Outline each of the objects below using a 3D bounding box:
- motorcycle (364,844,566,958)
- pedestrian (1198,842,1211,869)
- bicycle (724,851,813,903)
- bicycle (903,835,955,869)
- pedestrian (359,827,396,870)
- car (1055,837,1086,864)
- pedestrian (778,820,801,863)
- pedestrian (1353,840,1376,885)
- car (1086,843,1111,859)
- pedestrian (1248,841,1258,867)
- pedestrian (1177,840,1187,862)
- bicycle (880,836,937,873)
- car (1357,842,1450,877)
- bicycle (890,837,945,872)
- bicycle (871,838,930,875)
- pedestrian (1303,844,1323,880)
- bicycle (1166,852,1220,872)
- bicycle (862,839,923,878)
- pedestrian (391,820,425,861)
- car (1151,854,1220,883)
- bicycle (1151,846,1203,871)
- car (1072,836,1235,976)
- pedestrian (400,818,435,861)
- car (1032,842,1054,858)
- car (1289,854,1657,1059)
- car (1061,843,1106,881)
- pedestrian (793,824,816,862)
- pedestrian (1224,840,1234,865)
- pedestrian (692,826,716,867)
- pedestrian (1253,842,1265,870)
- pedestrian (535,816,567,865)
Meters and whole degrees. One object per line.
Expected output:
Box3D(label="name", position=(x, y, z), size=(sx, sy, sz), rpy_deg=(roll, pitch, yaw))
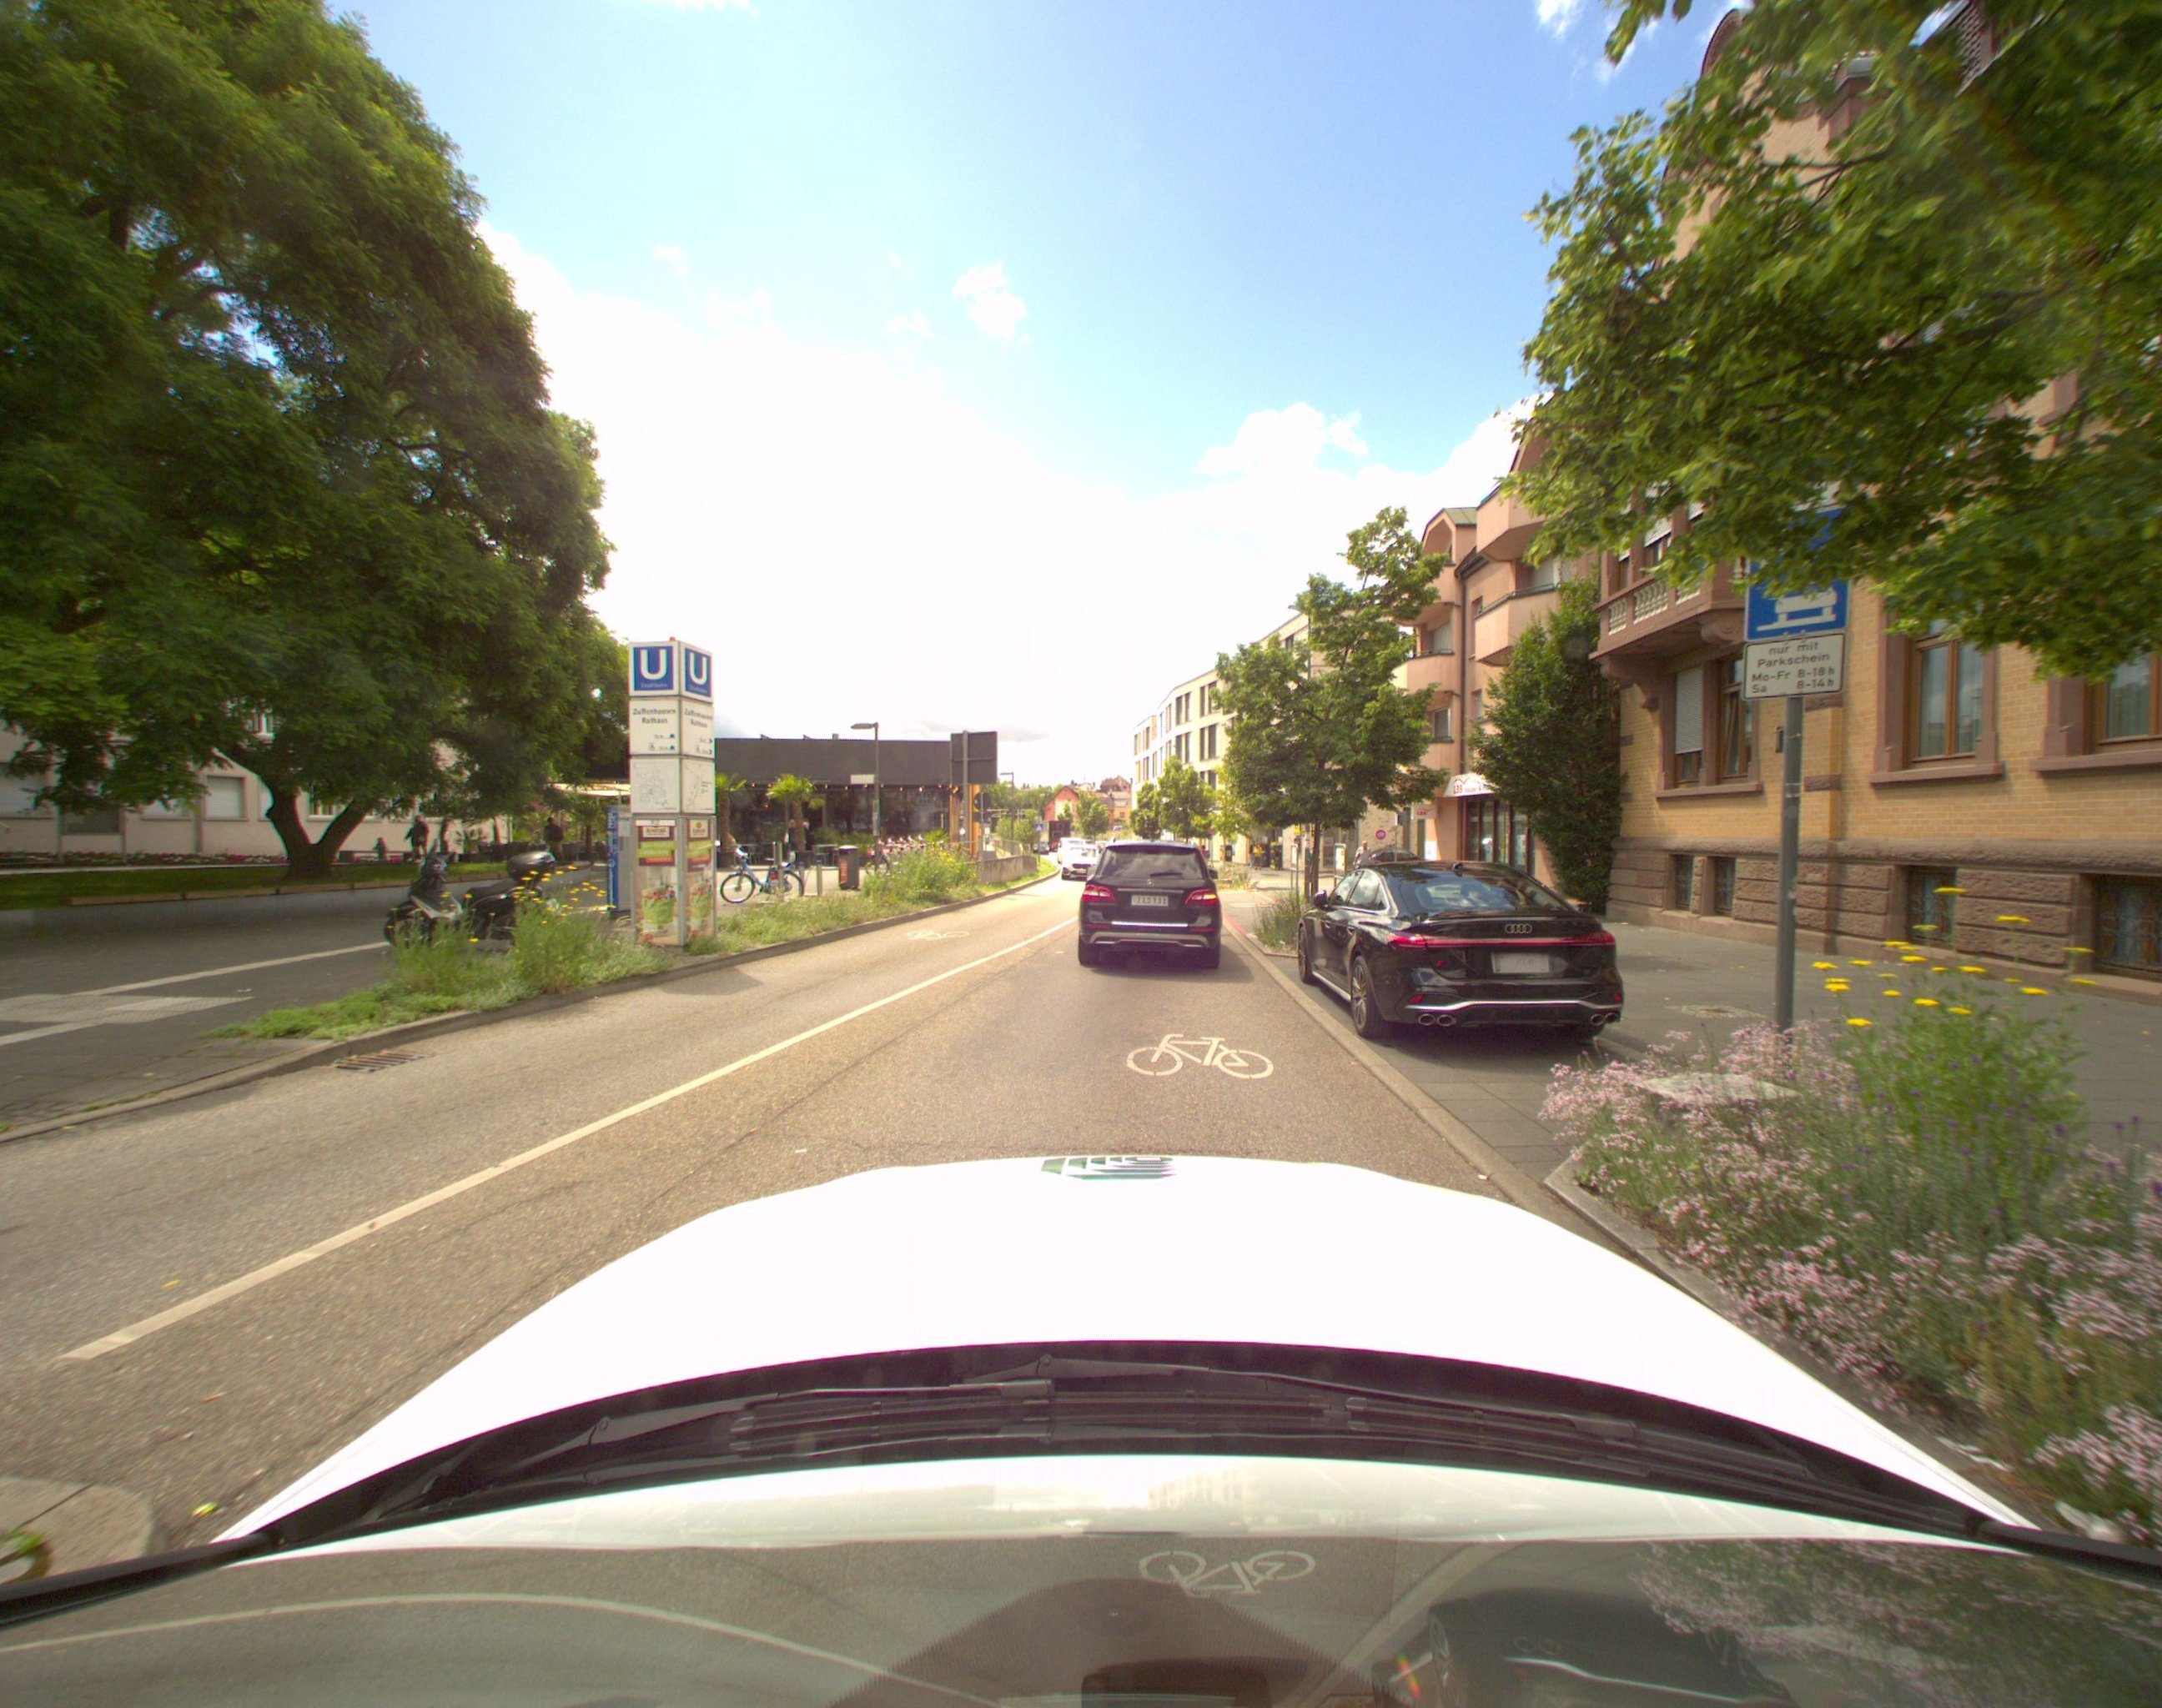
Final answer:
Box3D(label="motorcycle", position=(-7.508, 0.549, 9.958), size=(2.121, 1.289, 0.584), rpy_deg=(1, 3, 6))
Box3D(label="pedestrian", position=(7.713, 0.099, 50.758), size=(0.662, 1.682, 0.567), rpy_deg=(0, 0, -7))
Box3D(label="bicycle", position=(-6.134, 0.447, 15.993), size=(1.601, 0.997, 0.501), rpy_deg=(0, 0, 10))
Box3D(label="bicycle", position=(-4.899, -0.064, 26.283), size=(1.560, 1.091, 0.579), rpy_deg=(0, 0, 5))
Box3D(label="pedestrian", position=(-26.115, -0.194, 30.245), size=(0.631, 1.577, 0.789), rpy_deg=(-1, 0, 5))
Box3D(label="car", position=(-0.796, -0.287, 60.718), size=(1.838, 1.858, 4.488), rpy_deg=(2, 1, -7))
Box3D(label="pedestrian", position=(-11.008, -0.475, 30.740), size=(0.608, 1.618, 0.586), rpy_deg=(-1, 0, 40))
Box3D(label="pedestrian", position=(10.484, 0.309, 30.138), size=(0.629, 1.626, 0.700), rpy_deg=(0, 0, 2))
Box3D(label="car", position=(1.491, -0.288, 71.219), size=(1.607, 1.383, 3.826), rpy_deg=(-1, 1, -8))
Box3D(label="pedestrian", position=(11.133, 0.008, 52.621), size=(0.556, 1.682, 0.568), rpy_deg=(0, 0, 2))
Box3D(label="pedestrian", position=(7.847, -0.255, 63.268), size=(0.560, 1.682, 0.565), rpy_deg=(0, 0, -17))
Box3D(label="bicycle", position=(-5.170, 0.010, 24.481), size=(1.560, 1.091, 0.579), rpy_deg=(0, 0, 5))
Box3D(label="car", position=(16.177, 0.262, 41.006), size=(3.970, 1.566, 1.848), rpy_deg=(2, 1, 3))
Box3D(label="bicycle", position=(-5.094, 0.017, 25.363), size=(1.560, 1.091, 0.579), rpy_deg=(0, 0, 5))
Box3D(label="bicycle", position=(-5.232, 0.069, 23.631), size=(1.560, 1.069, 0.540), rpy_deg=(0, 0, 5))
Box3D(label="pedestrian", position=(10.215, 0.339, 35.869), size=(0.708, 1.563, 0.568), rpy_deg=(0, 0, 1))
Box3D(label="bicycle", position=(6.609, 0.476, 48.066), size=(3.049, 1.146, 0.710), rpy_deg=(-1, 0, 0))
Box3D(label="bicycle", position=(-5.281, 0.121, 22.861), size=(1.560, 1.091, 0.579), rpy_deg=(0, 0, 5))
Box3D(label="pedestrian", position=(-26.185, -0.524, 31.696), size=(0.782, 1.577, 0.637), rpy_deg=(-1, 0, 3))
Box3D(label="car", position=(5.487, 0.719, 42.441), size=(1.593, 1.383, 3.859), rpy_deg=(0, 1, 44))
Box3D(label="bicycle", position=(5.859, 0.287, 49.714), size=(3.049, 1.486, 0.710), rpy_deg=(-1, 0, 0))
Box3D(label="car", position=(1.076, 0.643, 12.410), size=(2.018, 1.727, 4.438), rpy_deg=(1, 0, 4))
Box3D(label="pedestrian", position=(-25.213, -0.555, 30.949), size=(0.782, 1.627, 0.637), rpy_deg=(-1, 0, 3))
Box3D(label="car", position=(-4.009, -0.455, 85.775), size=(1.840, 1.608, 3.988), rpy_deg=(2, 1, -9))
Box3D(label="car", position=(3.300, 0.733, 7.919), size=(1.847, 1.406, 4.382), rpy_deg=(-1, 0, 6))
Box3D(label="car", position=(0.182, 0.328, 37.888), size=(1.833, 1.608, 4.003), rpy_deg=(2, 1, 3))
Box3D(label="pedestrian", position=(-10.740, -0.416, 31.599), size=(0.577, 1.463, 0.618), rpy_deg=(-1, 0, 13))
Box3D(label="pedestrian", position=(9.986, -0.095, 55.066), size=(0.556, 1.682, 0.568), rpy_deg=(0, 0, 2))
Box3D(label="pedestrian", position=(-13.092, -0.263, 28.264), size=(0.580, 1.379, 0.614), rpy_deg=(-1, 0, -8))
Box3D(label="pedestrian", position=(10.893, 0.101, 49.843), size=(0.556, 1.691, 0.639), rpy_deg=(0, 0, 2))
Box3D(label="pedestrian", position=(-17.318, -0.446, 26.626), size=(0.612, 1.577, 0.583), rpy_deg=(-1, 0, 0))
